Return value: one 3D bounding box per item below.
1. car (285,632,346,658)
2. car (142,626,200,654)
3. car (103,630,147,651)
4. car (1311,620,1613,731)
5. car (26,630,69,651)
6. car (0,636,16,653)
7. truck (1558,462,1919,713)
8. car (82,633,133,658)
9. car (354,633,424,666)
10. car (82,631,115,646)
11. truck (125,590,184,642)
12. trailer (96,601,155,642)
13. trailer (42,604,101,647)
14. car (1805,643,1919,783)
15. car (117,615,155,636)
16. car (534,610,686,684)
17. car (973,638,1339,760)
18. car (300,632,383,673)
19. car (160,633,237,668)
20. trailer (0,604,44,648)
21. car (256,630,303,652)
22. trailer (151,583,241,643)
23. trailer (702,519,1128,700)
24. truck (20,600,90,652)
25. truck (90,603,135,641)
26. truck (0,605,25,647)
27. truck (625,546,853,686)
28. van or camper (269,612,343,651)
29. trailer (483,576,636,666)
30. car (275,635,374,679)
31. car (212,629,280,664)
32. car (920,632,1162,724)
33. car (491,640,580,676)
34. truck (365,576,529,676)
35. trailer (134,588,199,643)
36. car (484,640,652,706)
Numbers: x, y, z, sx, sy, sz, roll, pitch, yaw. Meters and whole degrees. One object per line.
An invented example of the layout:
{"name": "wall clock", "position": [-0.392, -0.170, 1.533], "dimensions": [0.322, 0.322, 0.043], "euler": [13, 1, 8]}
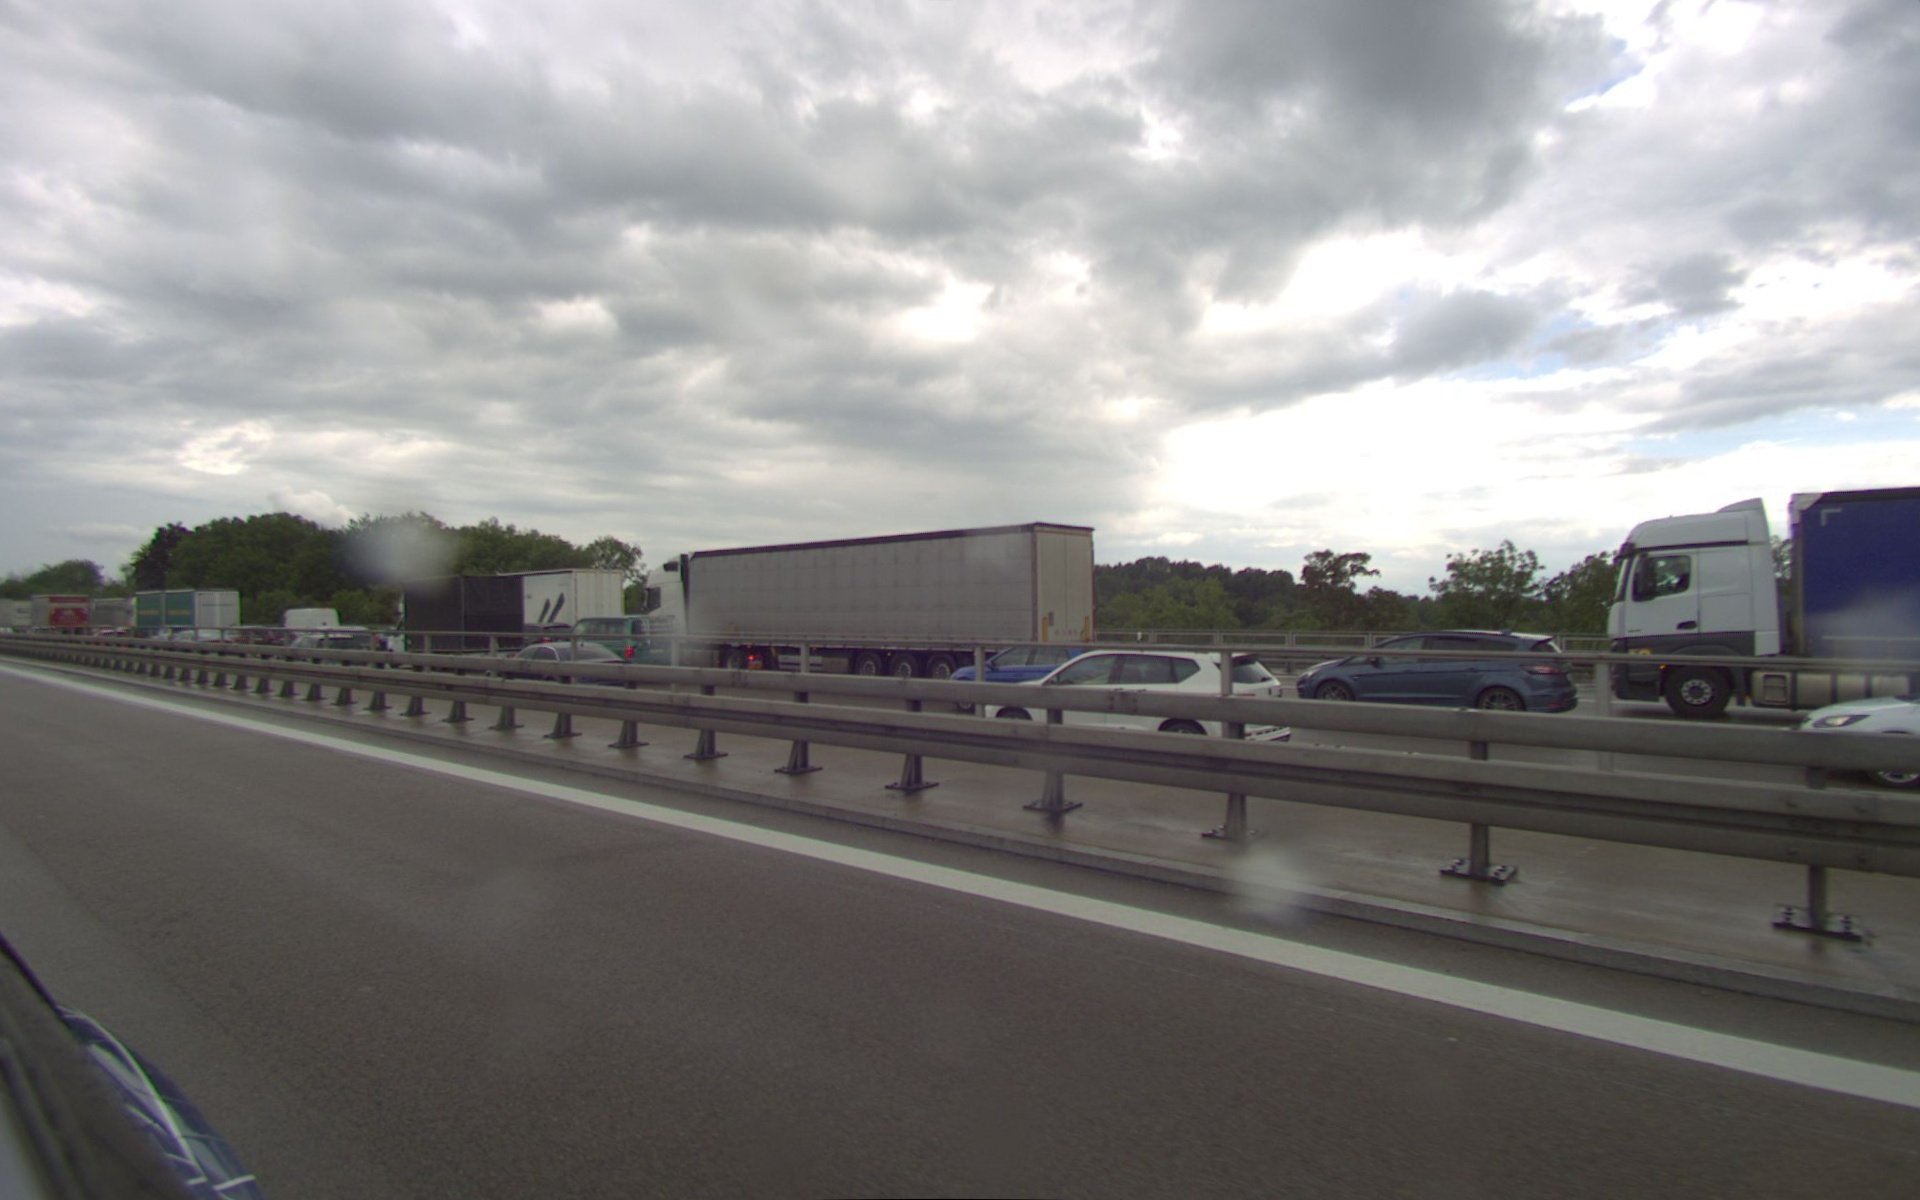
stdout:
{"name": "car", "position": [-35.212, 2.447, 55.247], "dimensions": [4.215, 1.364, 1.651], "euler": [-2, -2, 41]}
{"name": "car", "position": [-48.455, 2.442, 62.127], "dimensions": [4.774, 1.637, 1.747], "euler": [-1, -1, 38]}
{"name": "car", "position": [-60.226, 2.932, 72.952], "dimensions": [3.998, 1.463, 1.813], "euler": [-2, -2, 41]}
{"name": "car", "position": [9.043, 1.288, 18.473], "dimensions": [4.572, 1.761, 1.947], "euler": [-2, -2, 41]}
{"name": "car", "position": [-65.075, 2.855, 72.160], "dimensions": [3.998, 1.463, 1.813], "euler": [-1, -2, 41]}
{"name": "car", "position": [-79.885, 3.666, 83.771], "dimensions": [5.007, 1.429, 1.903], "euler": [-2, -2, 40]}
{"name": "truck", "position": [19.233, -0.295, 14.877], "dimensions": [17.732, 4.052, 2.621], "euler": [-2, -2, 40]}
{"name": "car", "position": [-49.308, 2.596, 58.525], "dimensions": [4.381, 1.364, 1.556], "euler": [-2, -2, 41]}
{"name": "car", "position": [-28.317, 2.428, 50.147], "dimensions": [4.083, 1.547, 1.702], "euler": [-2, -2, 41]}
{"name": "car", "position": [-78.299, 3.469, 92.002], "dimensions": [4.191, 1.354, 1.582], "euler": [-2, -2, 40]}
{"name": "truck", "position": [-64.559, 1.259, 81.092], "dimensions": [4.960, 4.060, 2.816], "euler": [-2, -1, 40]}
{"name": "trailer", "position": [-87.698, 2.303, 106.216], "dimensions": [12.300, 4.024, 2.729], "euler": [-2, -2, 41]}
{"name": "trailer", "position": [-91.300, 2.627, 103.909], "dimensions": [13.022, 4.177, 2.850], "euler": [-2, -2, 41]}
{"name": "car", "position": [12.271, 1.230, 10.851], "dimensions": [4.858, 1.522, 1.628], "euler": [-2, -2, 41]}
{"name": "car", "position": [-72.342, 2.237, 88.803], "dimensions": [3.999, 1.844, 1.972], "euler": [-1, -1, 42]}
{"name": "car", "position": [-10.783, 1.393, 30.971], "dimensions": [5.672, 2.068, 1.802], "euler": [-2, -2, 41]}
{"name": "car", "position": [2.487, 1.202, 13.645], "dimensions": [4.623, 1.364, 1.702], "euler": [-2, -2, 41]}
{"name": "car", "position": [-27.579, 2.308, 45.039], "dimensions": [5.052, 1.713, 1.702], "euler": [-2, -2, 41]}
{"name": "car", "position": [-34.783, 2.281, 46.164], "dimensions": [5.499, 1.514, 1.702], "euler": [-2, -2, 41]}
{"name": "trailer", "position": [-94.707, 2.591, 101.148], "dimensions": [13.016, 4.177, 2.852], "euler": [-2, -2, 40]}
{"name": "car", "position": [-41.814, 2.520, 62.197], "dimensions": [3.430, 1.343, 1.556], "euler": [-2, -2, 41]}
{"name": "trailer", "position": [-55.548, 0.998, 73.414], "dimensions": [11.595, 4.092, 2.789], "euler": [-2, -1, 41]}
{"name": "trailer", "position": [-1.882, 0.333, 27.748], "dimensions": [13.008, 3.963, 3.210], "euler": [-2, -1, 41]}
{"name": "truck", "position": [-78.485, 2.270, 87.603], "dimensions": [12.516, 4.180, 2.953], "euler": [-2, -2, 41]}
{"name": "truck", "position": [-92.731, 2.435, 110.665], "dimensions": [6.573, 4.024, 2.730], "euler": [-2, -2, 41]}
{"name": "truck", "position": [-100.748, 2.734, 106.207], "dimensions": [7.550, 4.212, 2.852], "euler": [-2, -2, 40]}
{"name": "truck", "position": [-7.177, 0.518, 32.229], "dimensions": [7.569, 3.963, 3.166], "euler": [-2, -1, 41]}
{"name": "van or camper", "position": [-45.290, 2.167, 69.974], "dimensions": [7.357, 2.598, 2.221], "euler": [-2, -2, 40]}
{"name": "trailer", "position": [-19.575, 1.015, 49.106], "dimensions": [8.845, 3.989, 3.186], "euler": [-2, -1, 41]}
{"name": "car", "position": [-21.158, 1.863, 33.644], "dimensions": [3.998, 1.364, 1.702], "euler": [-2, -2, 41]}
{"name": "car", "position": [-37.247, 2.383, 52.752], "dimensions": [5.101, 1.741, 1.702], "euler": [-2, -2, 41]}
{"name": "car", "position": [1.521, 1.457, 20.304], "dimensions": [4.695, 1.636, 1.802], "euler": [-2, -2, 41]}
{"name": "car", "position": [-17.176, 2.317, 40.905], "dimensions": [4.083, 1.364, 1.702], "euler": [-2, -2, 41]}
{"name": "truck", "position": [-19.504, 1.013, 38.191], "dimensions": [8.535, 3.425, 2.493], "euler": [-2, -2, 41]}
{"name": "trailer", "position": [-61.639, 1.197, 78.595], "dimensions": [6.310, 4.060, 2.806], "euler": [-2, -1, 41]}
{"name": "car", "position": [-9.099, 1.613, 23.338], "dimensions": [4.532, 1.364, 1.702], "euler": [-2, -2, 41]}
